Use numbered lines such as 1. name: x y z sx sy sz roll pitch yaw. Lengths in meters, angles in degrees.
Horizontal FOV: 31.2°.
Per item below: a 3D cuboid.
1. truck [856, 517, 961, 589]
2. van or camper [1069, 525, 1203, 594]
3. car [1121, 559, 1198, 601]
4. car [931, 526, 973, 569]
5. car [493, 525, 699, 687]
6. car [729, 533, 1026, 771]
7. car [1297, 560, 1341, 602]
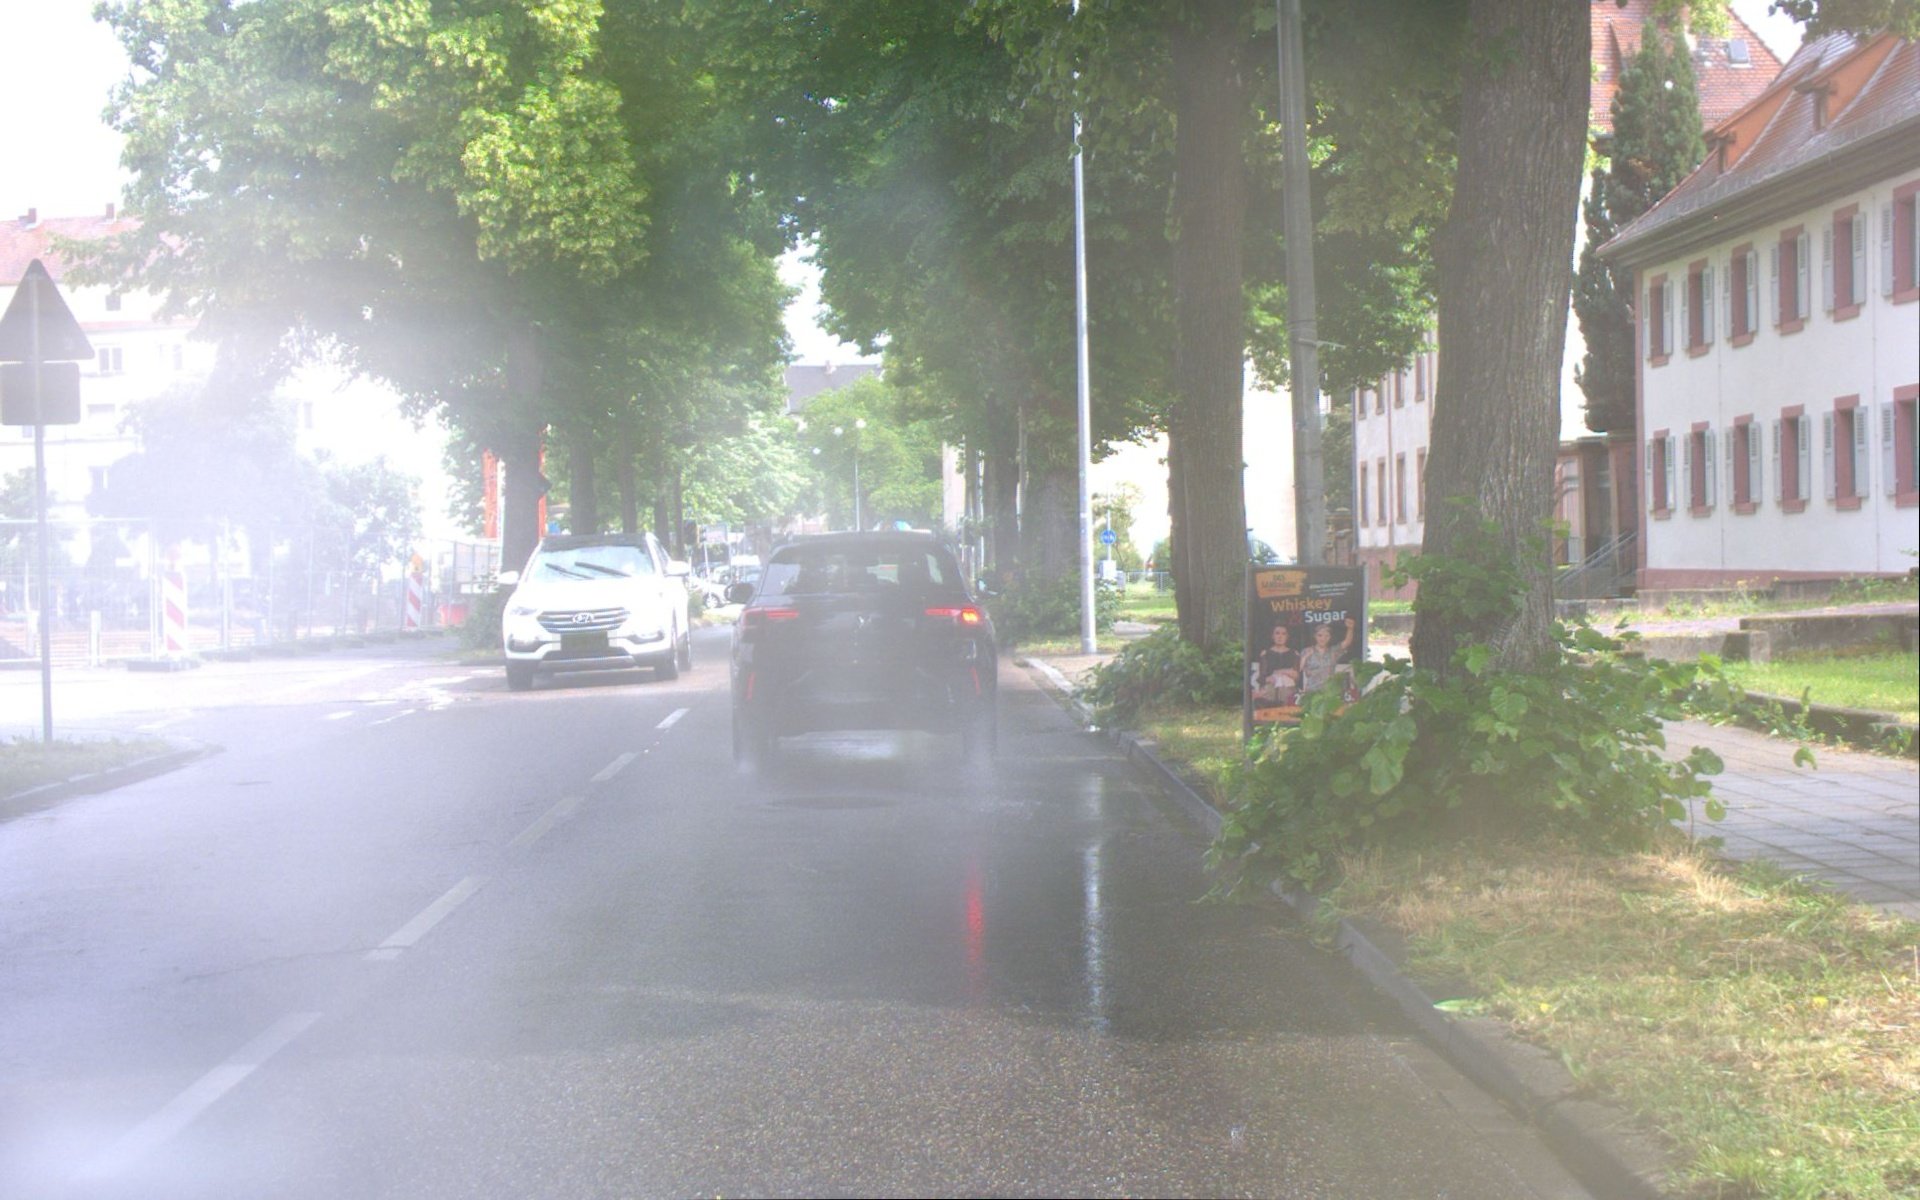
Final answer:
1. truck: -2.022 -1.847 131.652 2.804 2.647 8.243 -1 1 -9
2. van or camper: 6.885 -1.586 135.170 5.032 2.587 2.168 -2 0 -2
3. car: 9.547 -0.945 164.320 3.408 1.775 1.759 -4 0 8
4. car: -0.393 -2.749 180.869 1.994 2.007 3.999 -2 -2 2
5. car: -4.103 0.031 39.358 1.886 1.708 4.230 -1 1 0
6. car: -0.619 0.310 24.062 1.894 1.517 4.000 0 1 -3
7. car: 15.493 -0.813 148.541 1.743 1.678 3.869 -4 0 5
